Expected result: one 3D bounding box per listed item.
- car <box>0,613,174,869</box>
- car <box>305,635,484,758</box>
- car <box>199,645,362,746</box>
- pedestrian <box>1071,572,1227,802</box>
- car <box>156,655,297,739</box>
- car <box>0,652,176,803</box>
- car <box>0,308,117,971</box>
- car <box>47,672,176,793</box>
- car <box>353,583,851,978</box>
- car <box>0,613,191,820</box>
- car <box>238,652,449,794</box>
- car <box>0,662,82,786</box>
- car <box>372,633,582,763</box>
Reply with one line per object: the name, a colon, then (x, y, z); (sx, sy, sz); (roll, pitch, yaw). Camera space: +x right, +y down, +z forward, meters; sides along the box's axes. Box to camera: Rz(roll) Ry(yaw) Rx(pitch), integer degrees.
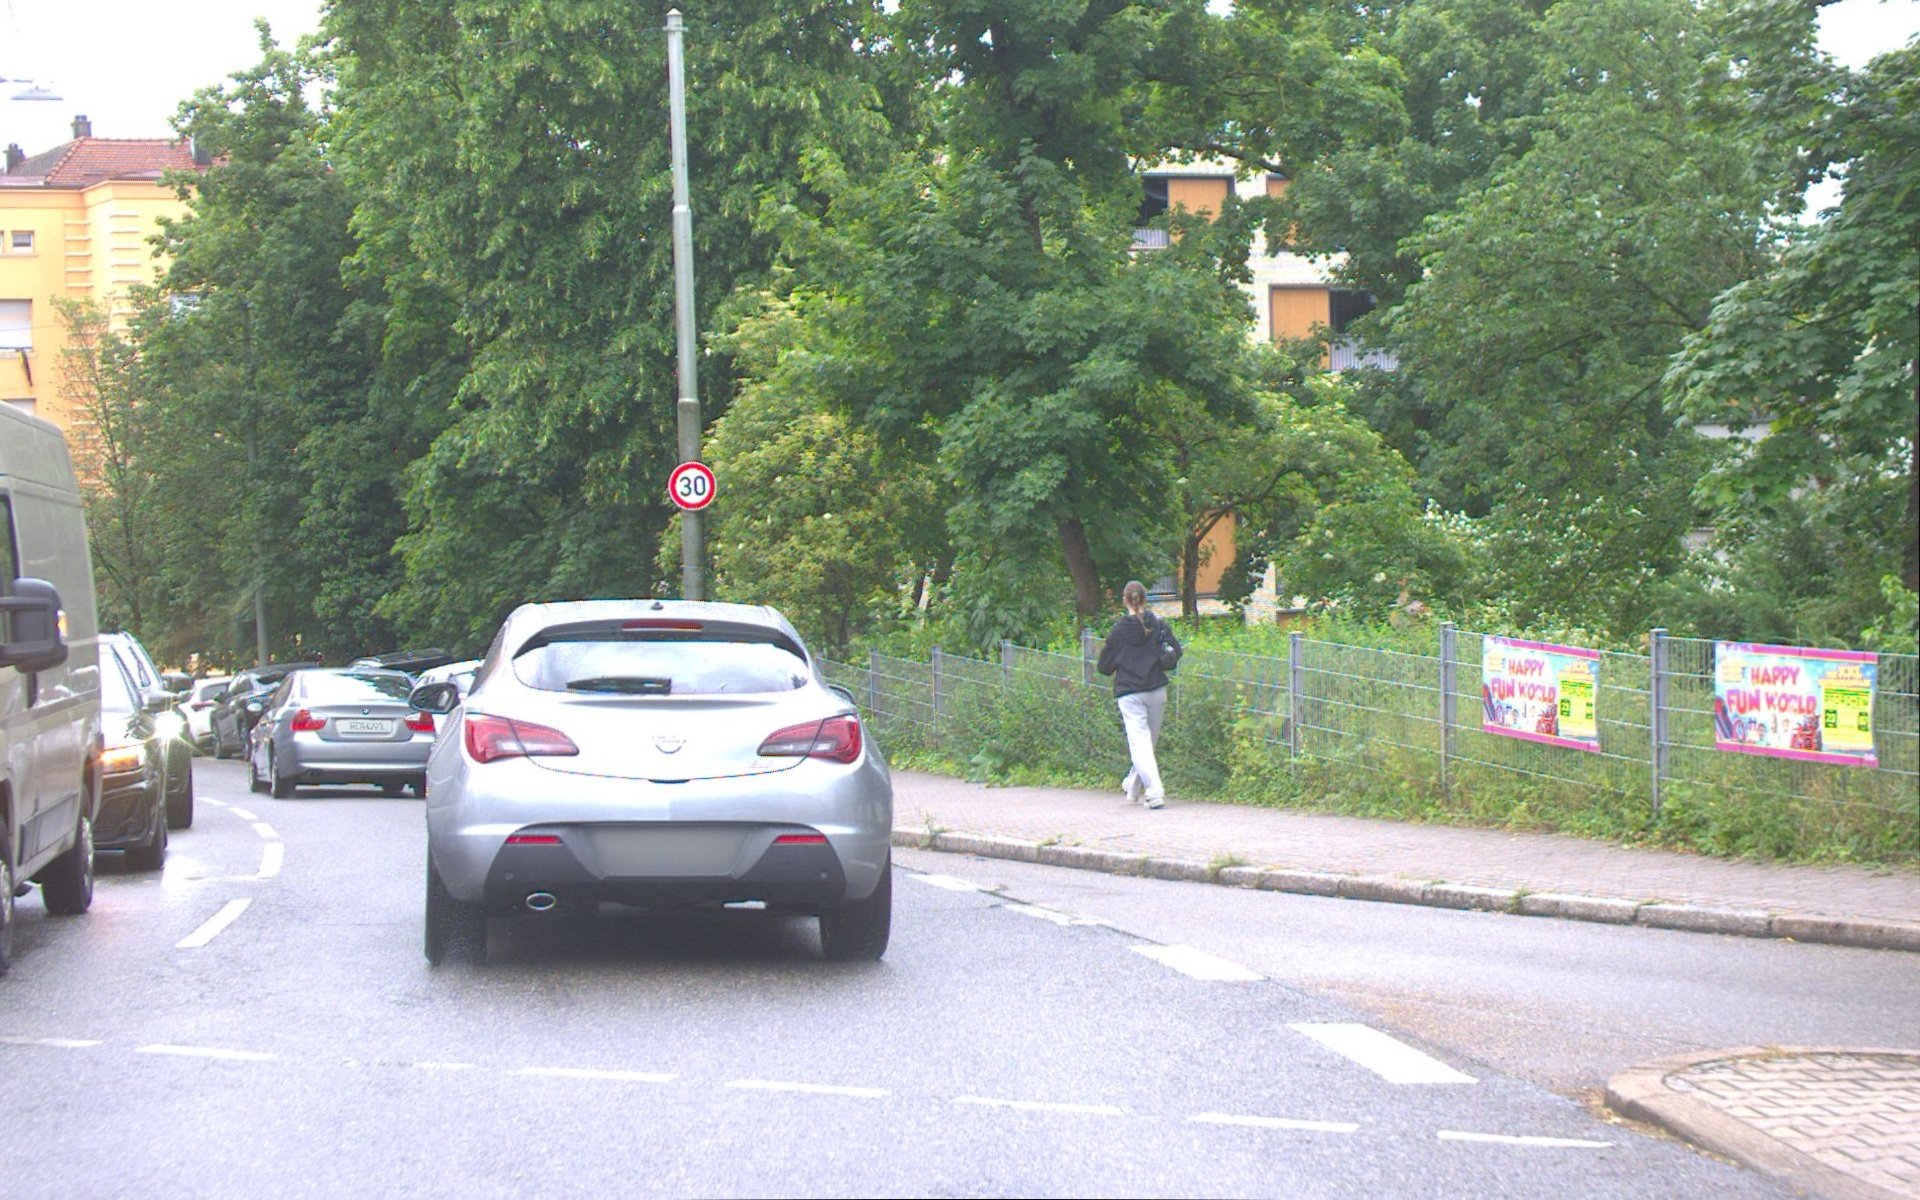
car: (-5.933, 0.866, 21.658); (1.814, 1.425, 4.001); (-2, -1, -14)
car: (-8.725, 1.464, 52.772); (1.821, 1.677, 4.804); (-4, 0, -19)
car: (-12.328, 1.749, 62.134); (1.975, 1.604, 4.485); (-4, -1, -22)
pedestrian: (1.376, 0.631, 25.214); (0.765, 1.600, 0.966); (-4, 0, -15)
car: (-14.447, 1.932, 67.582); (1.975, 1.447, 4.114); (-4, -1, -22)
car: (-9.342, 1.318, 36.235); (1.773, 1.492, 4.263); (0, -2, -17)
car: (-5.039, 0.189, 15.022); (2.117, 2.537, 5.540); (-2, -1, -9)
car: (-10.713, 1.638, 43.291); (1.382, 1.407, 3.457); (-1, -1, -17)
car: (-1.547, 0.660, 14.753); (1.814, 1.425, 4.001); (-1, 0, -6)
car: (-7.602, 0.956, 28.958); (1.874, 1.569, 4.587); (-1, -1, -16)
car: (-6.765, 1.344, 37.464); (1.775, 1.425, 3.786); (-1, -2, -17)
car: (-12.735, 1.642, 46.122); (1.654, 1.563, 4.001); (-1, -1, -17)
car: (-6.662, 1.361, 47.063); (1.815, 1.490, 4.000); (-7, 0, -21)
